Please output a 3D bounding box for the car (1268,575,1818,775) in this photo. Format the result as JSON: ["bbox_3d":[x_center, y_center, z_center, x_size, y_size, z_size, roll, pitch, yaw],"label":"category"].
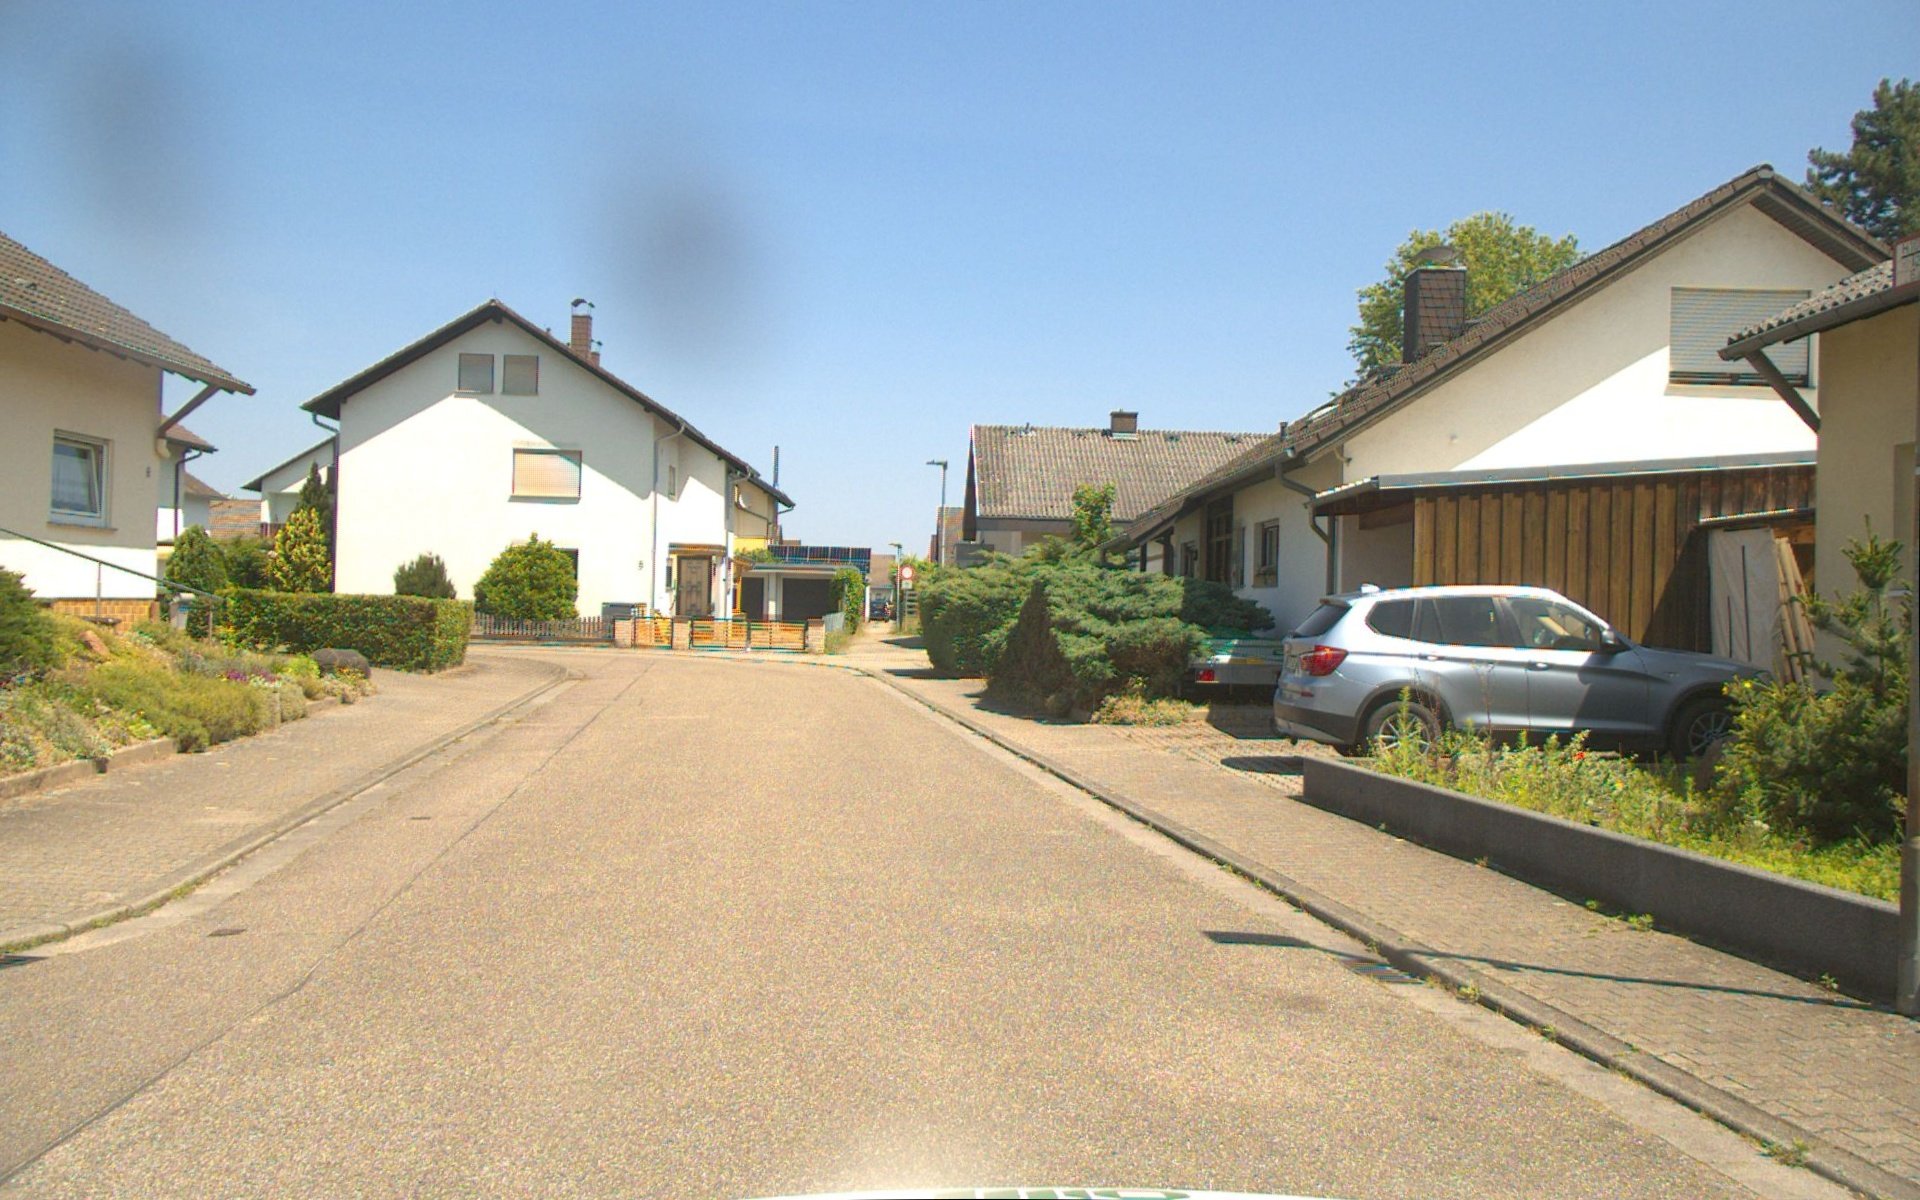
[{"bbox_3d":[5.291,0.662,15.424,4.531,1.732,1.710,0,0,1],"label":"car"}]

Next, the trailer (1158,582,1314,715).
[{"bbox_3d":[3.758,0.614,22.964,1.555,1.701,3.296,0,0,-1],"label":"trailer"}]

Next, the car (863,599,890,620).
[{"bbox_3d":[-7.060,0.768,140.752,2.149,1.731,3.806,1,0,-1],"label":"car"}]
